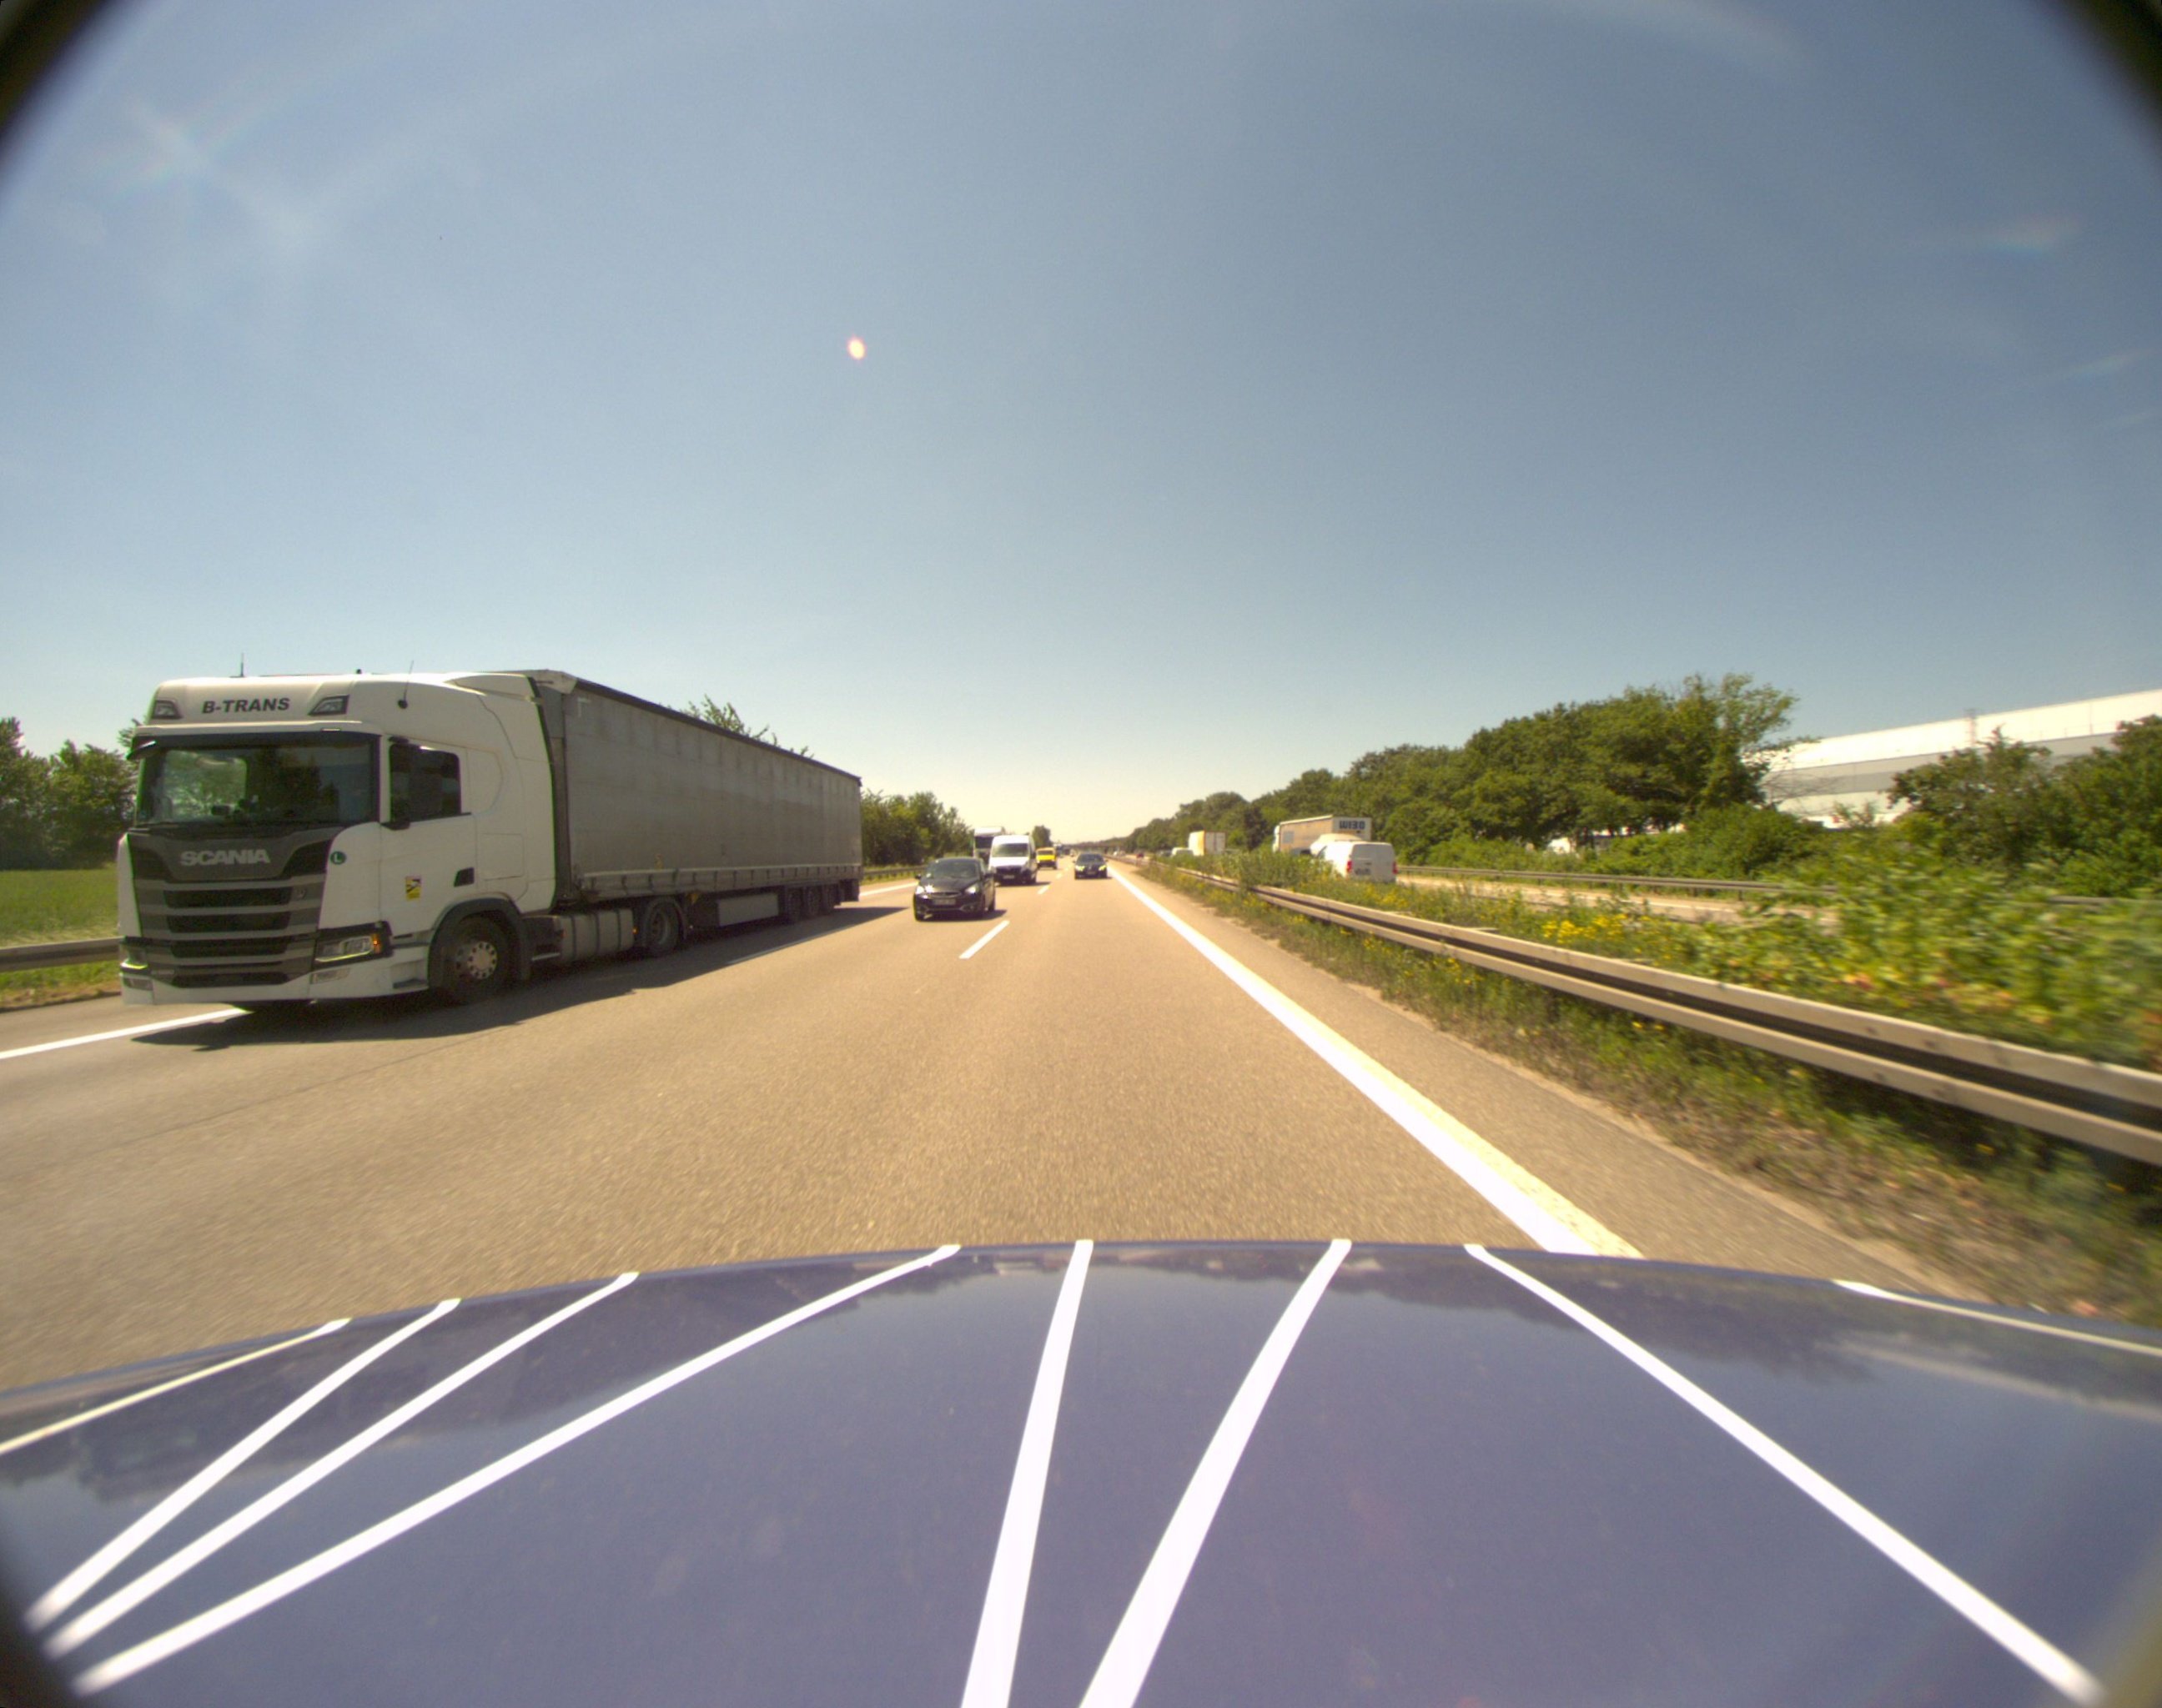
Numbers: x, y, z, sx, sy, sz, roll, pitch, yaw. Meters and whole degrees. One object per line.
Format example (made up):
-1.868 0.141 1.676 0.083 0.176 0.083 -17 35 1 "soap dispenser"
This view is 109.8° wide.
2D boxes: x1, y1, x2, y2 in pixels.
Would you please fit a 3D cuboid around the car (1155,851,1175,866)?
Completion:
10.499 0.533 95.244 1.964 1.684 4.801 -2 1 -1 "car"

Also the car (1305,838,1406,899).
10.245 0.481 28.750 1.999 2.061 4.712 -2 1 -1 "car"

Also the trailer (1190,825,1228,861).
15.715 -1.346 94.324 2.746 4.062 14.347 1 1 2 "trailer"

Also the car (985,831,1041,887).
-3.294 0.194 38.040 2.159 2.494 5.945 -2 1 0 "car"

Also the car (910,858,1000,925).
-3.093 0.866 19.211 1.692 1.465 3.432 -1 0 -1 "car"

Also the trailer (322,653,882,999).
-7.912 -0.424 16.730 2.817 4.279 14.253 -2 1 2 "trailer"

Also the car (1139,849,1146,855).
15.542 -0.546 192.971 1.776 1.409 4.112 1 0 4 "car"

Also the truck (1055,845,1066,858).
-6.001 -0.694 218.424 2.976 3.626 7.148 -2 1 -2 "truck"

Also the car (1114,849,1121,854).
10.995 -0.863 226.964 1.724 1.414 3.895 1 1 -3 "car"

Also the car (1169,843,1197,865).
10.055 -0.034 74.954 1.998 2.019 5.490 -2 1 0 "car"

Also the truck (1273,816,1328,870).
17.918 -0.886 62.461 2.764 4.079 6.151 2 1 1 "truck"

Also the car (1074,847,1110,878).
0.670 0.440 43.135 1.689 1.646 3.463 -2 1 5 "car"

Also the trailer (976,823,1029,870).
-7.218 -0.702 72.542 2.699 3.943 13.963 -2 0 3 "trailer"

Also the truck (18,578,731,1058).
-8.094 -0.348 10.526 2.817 4.280 7.192 -2 1 2 "truck"

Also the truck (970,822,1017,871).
-7.546 -0.653 66.833 2.699 3.943 7.704 -2 1 3 "truck"

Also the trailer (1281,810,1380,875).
17.794 -0.810 55.573 2.764 4.079 14.051 2 1 1 "trailer"

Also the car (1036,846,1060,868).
-2.997 0.254 69.264 1.958 1.939 3.999 -2 1 0 "car"
